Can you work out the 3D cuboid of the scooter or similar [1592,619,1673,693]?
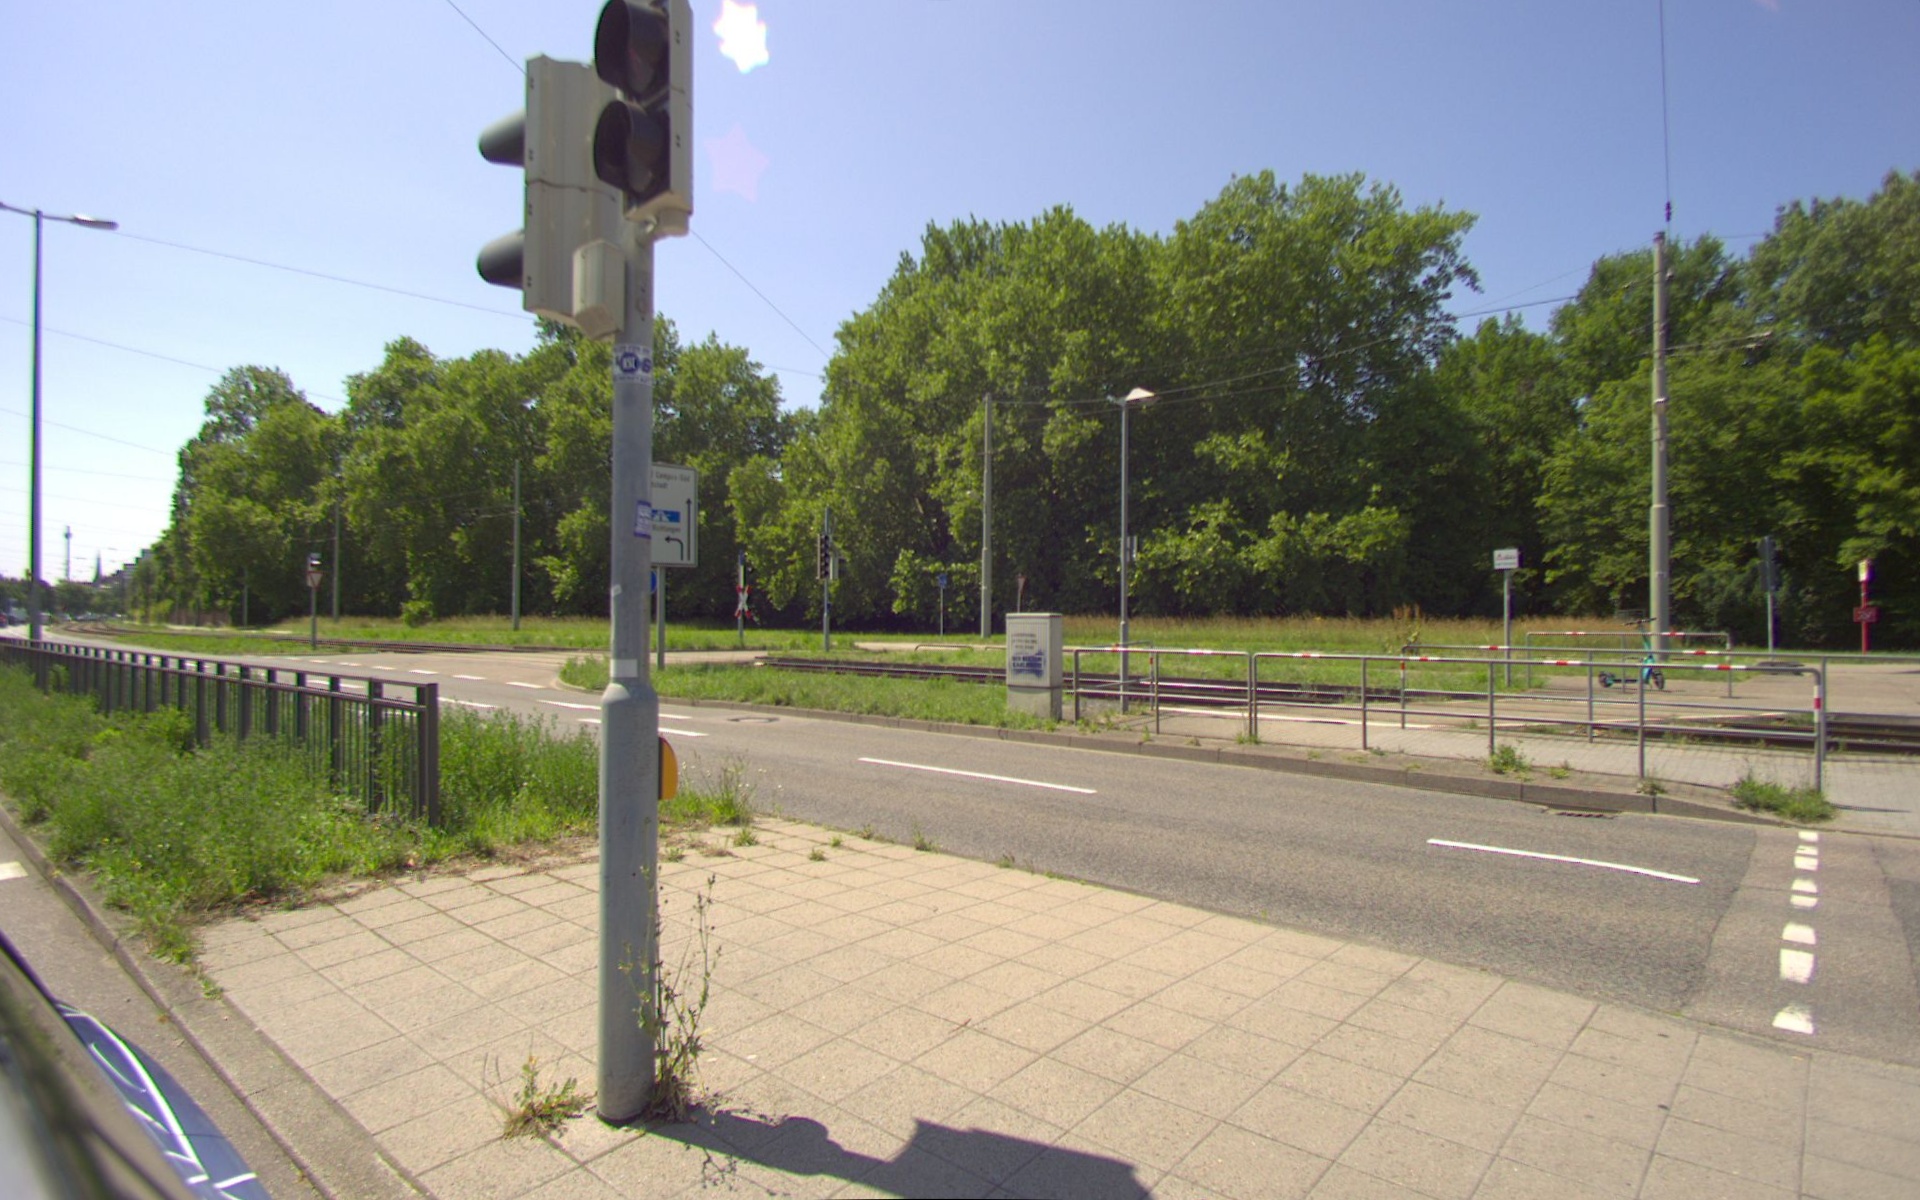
[{"bbox_3d":[11.982,0.972,18.035,1.100,1.246,0.761,-1,0,41],"label":"scooter or similar"}]
